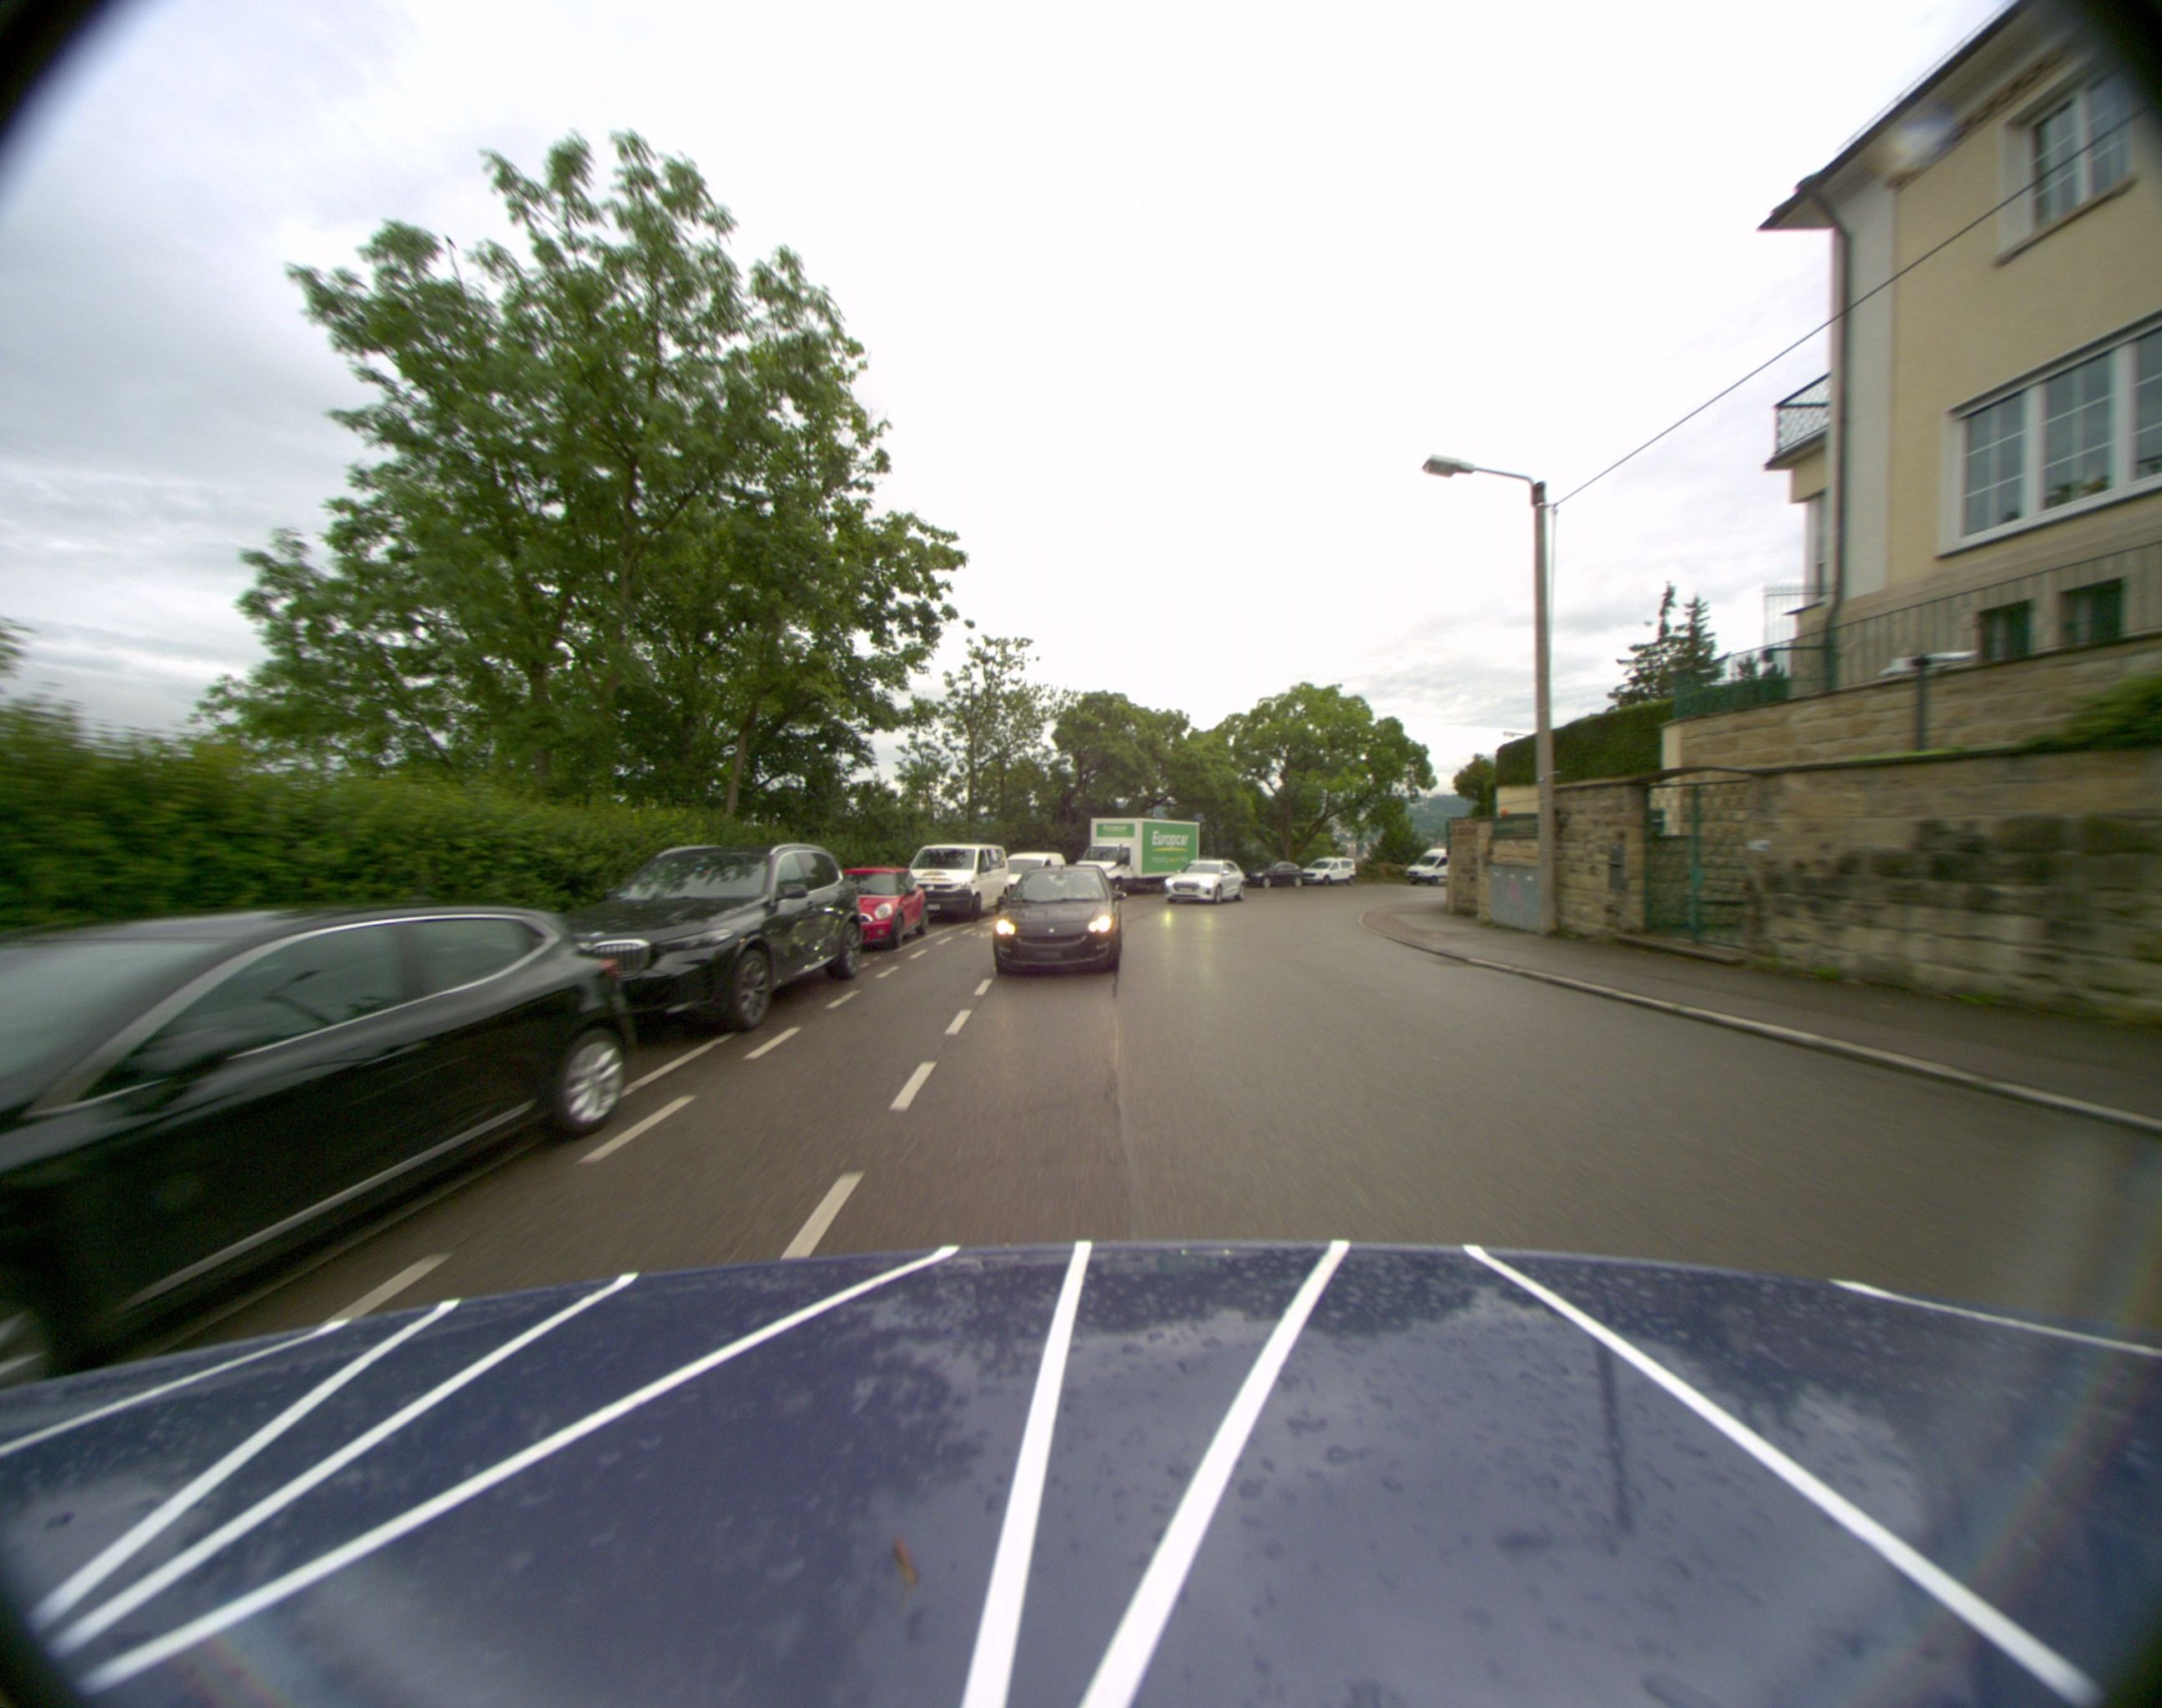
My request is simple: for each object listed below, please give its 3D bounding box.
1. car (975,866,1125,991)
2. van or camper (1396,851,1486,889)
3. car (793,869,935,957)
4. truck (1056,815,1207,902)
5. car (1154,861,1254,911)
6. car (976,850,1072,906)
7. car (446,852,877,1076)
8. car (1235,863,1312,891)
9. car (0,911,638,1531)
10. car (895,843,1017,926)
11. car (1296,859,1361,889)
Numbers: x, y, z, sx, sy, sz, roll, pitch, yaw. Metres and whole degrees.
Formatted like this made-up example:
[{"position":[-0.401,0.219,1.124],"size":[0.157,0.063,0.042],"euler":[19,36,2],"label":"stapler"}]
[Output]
[{"position":[-0.264,0.966,11.677],"size":[1.783,1.477,4.407],"euler":[-1,0,4],"label":"car"},{"position":[25.577,1.116,53.984],"size":[5.893,2.566,2.070],"euler":[1,1,-19],"label":"van or camper"},{"position":[-3.956,1.021,14.471],"size":[1.675,1.405,3.742],"euler":[0,0,-1],"label":"car"},{"position":[2.626,0.214,35.079],"size":[2.774,3.450,8.953],"euler":[3,1,33],"label":"truck"},{"position":[4.882,1.181,29.605],"size":[2.186,1.698,4.893],"euler":[2,0,30],"label":"car"},{"position":[-1.851,0.794,26.128],"size":[1.862,1.760,4.385],"euler":[0,-1,16],"label":"car"},{"position":[-4.012,0.898,8.510],"size":[2.032,1.772,4.899],"euler":[0,0,1],"label":"car"},{"position":[11.564,1.359,45.535],"size":[4.905,1.533,1.860],"euler":[2,0,-39],"label":"car"},{"position":[-3.702,1.092,2.811],"size":[1.692,1.414,3.983],"euler":[-1,1,2],"label":"car"},{"position":[-3.189,0.740,20.455],"size":[1.863,1.936,4.811],"euler":[1,0,8],"label":"car"},{"position":[16.050,1.325,49.088],"size":[4.433,1.810,1.747],"euler":[2,1,-38],"label":"car"}]
